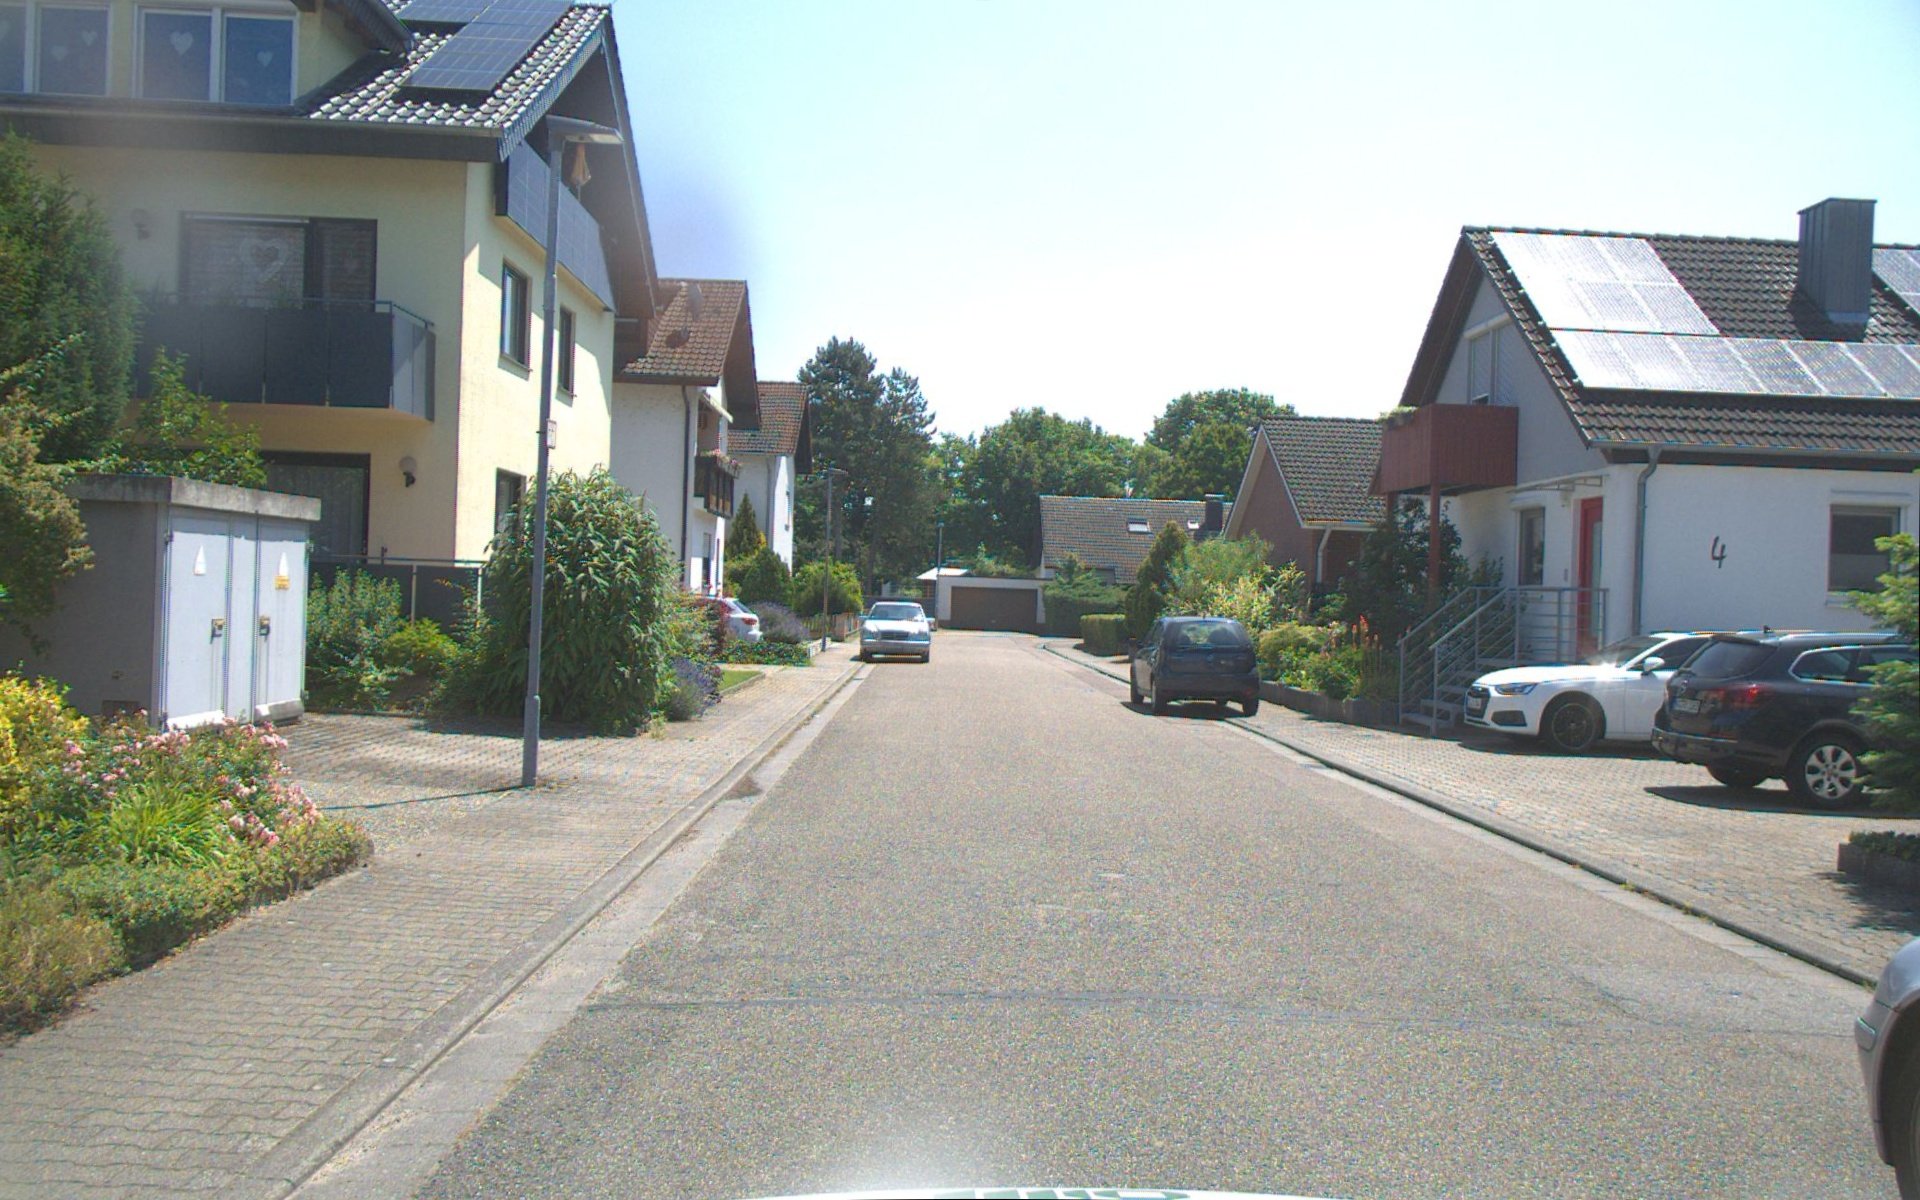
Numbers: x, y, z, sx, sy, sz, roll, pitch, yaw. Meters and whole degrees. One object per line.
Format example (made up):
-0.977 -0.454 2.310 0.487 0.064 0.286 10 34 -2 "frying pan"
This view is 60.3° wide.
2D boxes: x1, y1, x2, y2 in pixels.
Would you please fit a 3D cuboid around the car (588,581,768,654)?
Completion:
-6.420 0.389 38.020 3.911 1.445 1.843 3 0 -7 "car"

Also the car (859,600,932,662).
-1.585 0.741 42.138 1.665 1.417 4.336 2 0 0 "car"

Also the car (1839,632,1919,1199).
3.268 0.865 2.367 1.652 1.485 4.336 2 0 0 "car"

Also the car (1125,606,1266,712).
3.631 0.867 26.024 1.617 1.465 3.651 2 0 0 "car"

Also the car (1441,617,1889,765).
8.222 1.037 19.603 4.444 1.421 1.952 3 0 1 "car"

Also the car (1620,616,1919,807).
8.479 1.004 14.983 4.155 1.512 1.999 2 0 -2 "car"
